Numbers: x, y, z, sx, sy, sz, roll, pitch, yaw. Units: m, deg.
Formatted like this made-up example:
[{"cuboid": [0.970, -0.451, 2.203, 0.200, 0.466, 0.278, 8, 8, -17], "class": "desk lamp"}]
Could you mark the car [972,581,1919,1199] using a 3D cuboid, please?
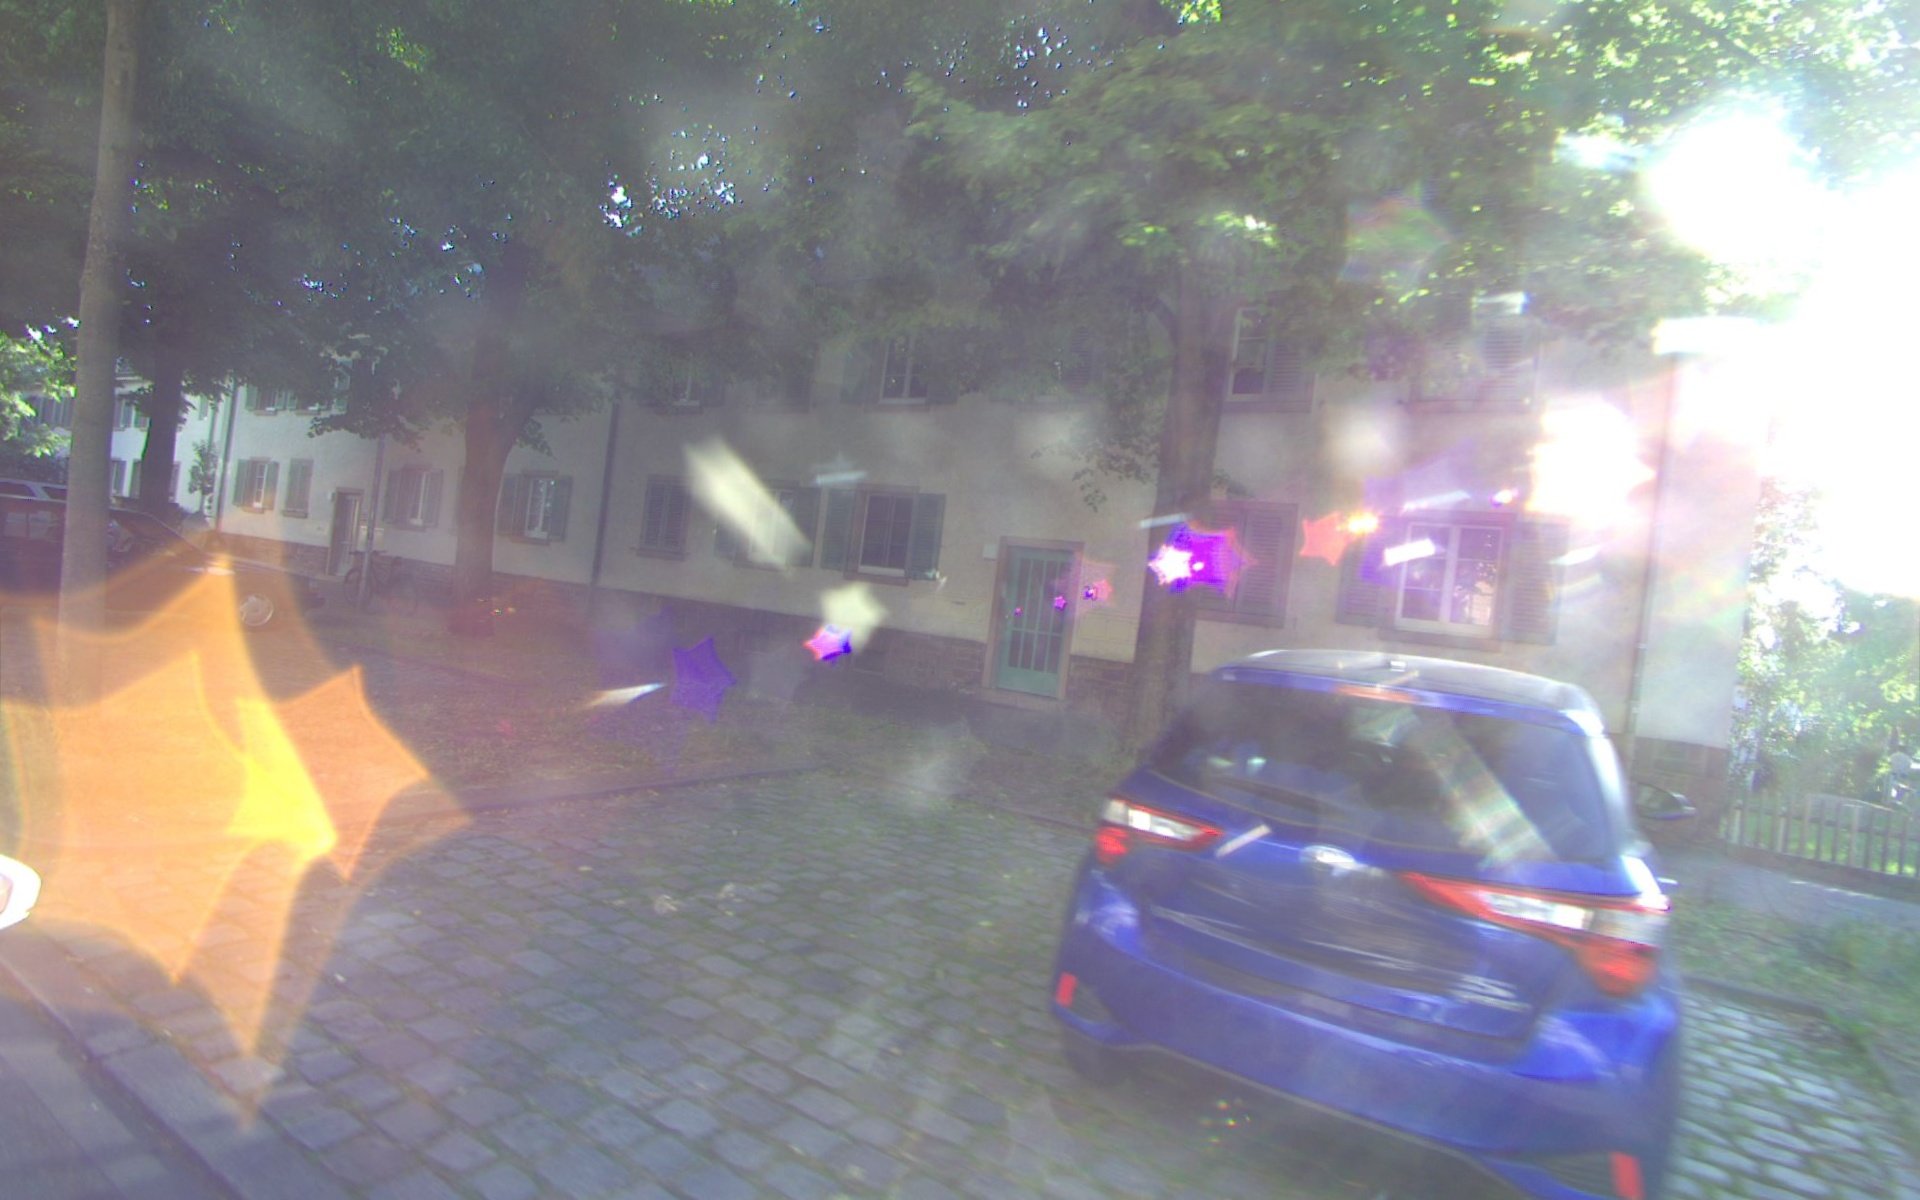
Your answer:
[{"cuboid": [1.948, 0.928, 4.138, 1.967, 1.575, 3.992, 6, 0, 31], "class": "car"}]

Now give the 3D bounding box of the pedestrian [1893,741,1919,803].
[{"cuboid": [31.146, 5.630, 32.977, 0.635, 1.916, 1.014, 6, -1, 40], "class": "pedestrian"}]

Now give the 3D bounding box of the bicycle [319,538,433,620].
[{"cuboid": [-10.175, -0.369, 17.511, 1.900, 1.177, 0.630, 7, 0, 25], "class": "bicycle"}]

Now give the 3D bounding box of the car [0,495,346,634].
[{"cuboid": [-10.752, -0.443, 12.564, 1.910, 1.460, 4.898, 6, 0, 31], "class": "car"}]

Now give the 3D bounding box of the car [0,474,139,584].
[{"cuboid": [-16.719, -1.313, 16.596, 1.910, 1.692, 4.478, 8, 2, 31], "class": "car"}]

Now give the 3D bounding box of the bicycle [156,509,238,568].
[{"cuboid": [-21.719, -1.751, 28.652, 1.967, 1.416, 0.802, 7, 0, 20], "class": "bicycle"}]

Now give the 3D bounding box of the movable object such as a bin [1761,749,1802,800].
[{"cuboid": [19.522, 4.140, 23.915, 0.635, 1.042, 0.643, 9, 1, 39], "class": "movable object such as a bin"}]
